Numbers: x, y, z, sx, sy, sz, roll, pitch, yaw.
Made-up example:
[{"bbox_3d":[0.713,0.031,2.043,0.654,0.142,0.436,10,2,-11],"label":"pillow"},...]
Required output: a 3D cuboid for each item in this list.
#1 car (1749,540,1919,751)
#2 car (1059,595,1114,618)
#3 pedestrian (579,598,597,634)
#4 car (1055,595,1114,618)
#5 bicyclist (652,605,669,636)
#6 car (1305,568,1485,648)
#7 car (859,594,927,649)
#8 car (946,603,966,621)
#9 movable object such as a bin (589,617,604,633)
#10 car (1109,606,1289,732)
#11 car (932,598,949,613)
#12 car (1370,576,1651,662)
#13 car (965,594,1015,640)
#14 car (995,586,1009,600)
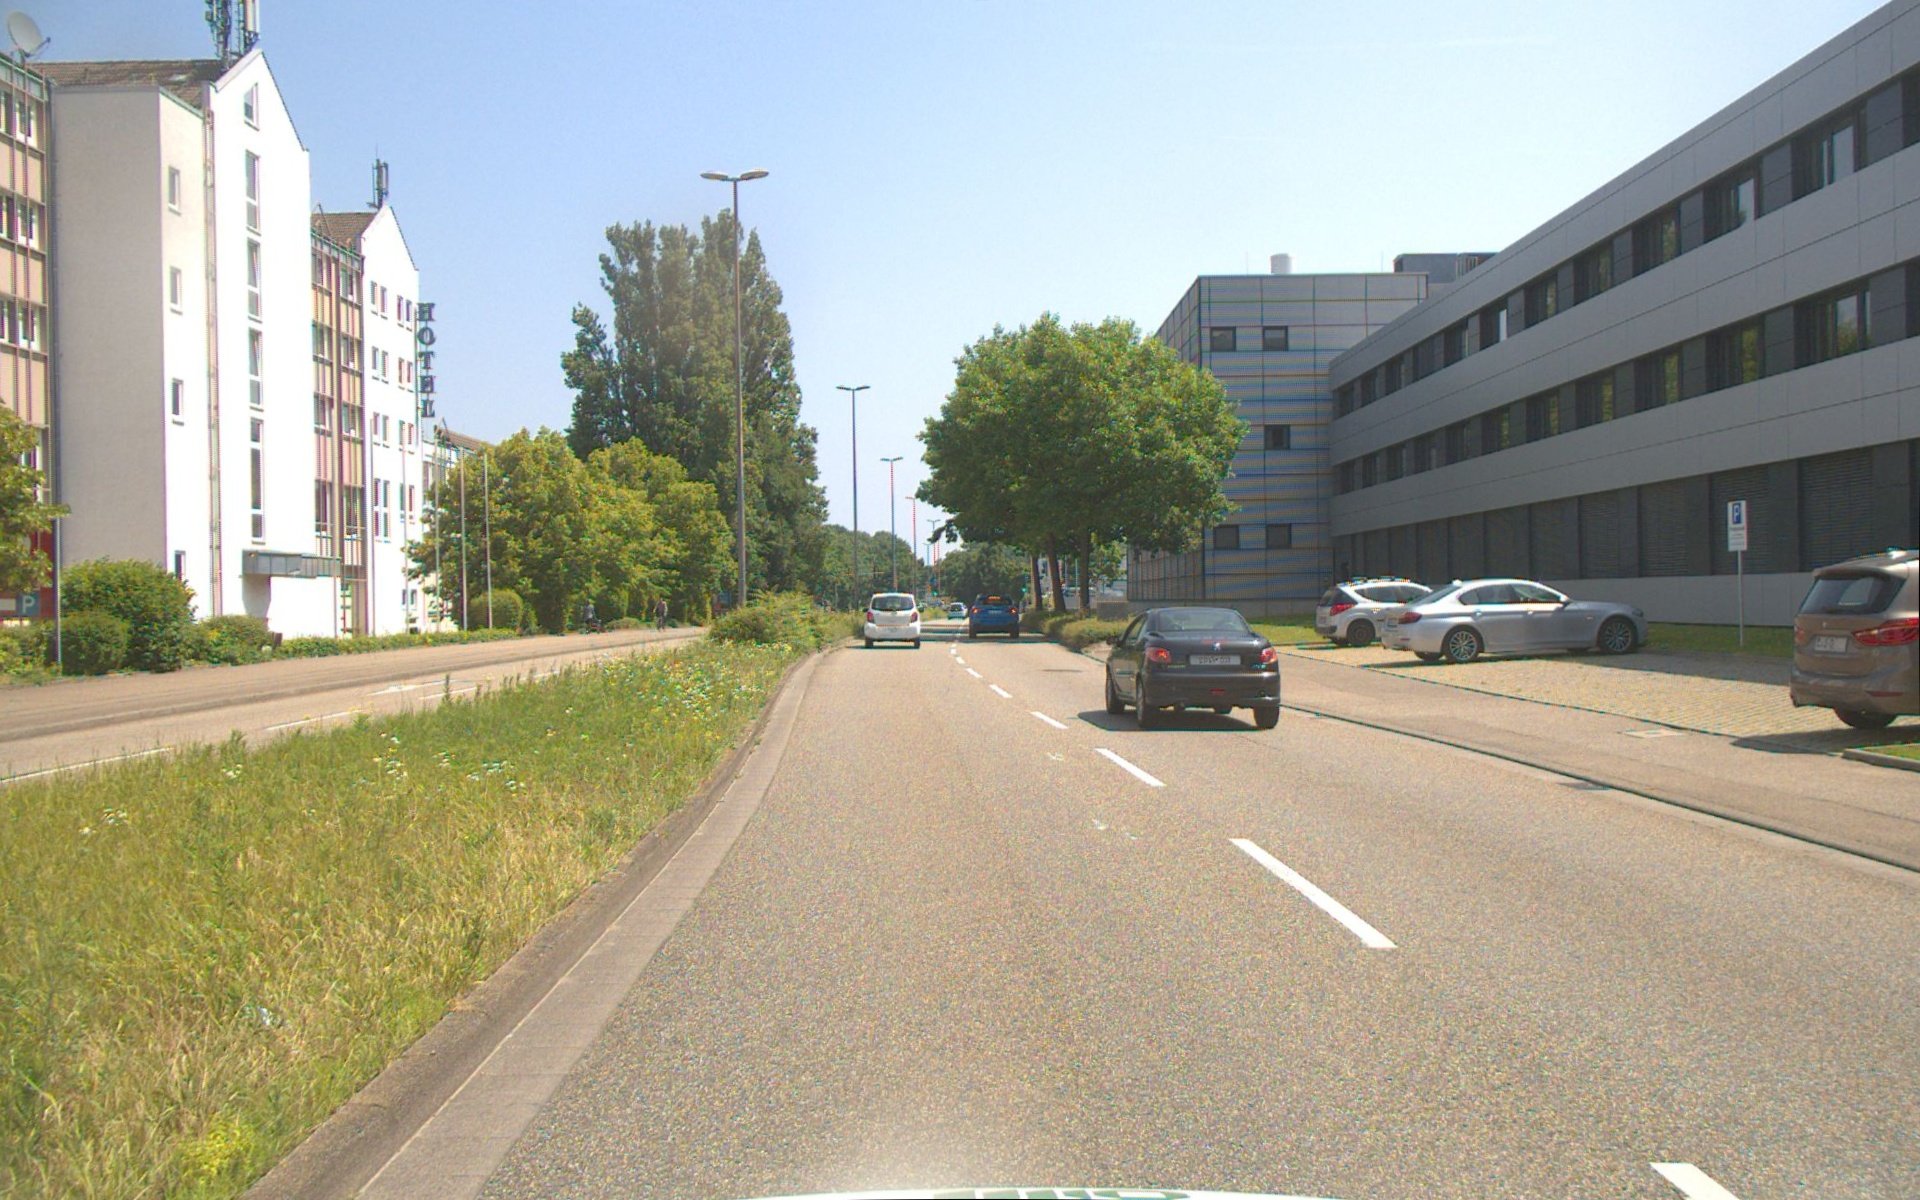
[{"bbox_3d":[9.738,0.249,14.971,4.176,1.718,1.998,-4,0,-4],"label":"car"},{"bbox_3d":[9.492,0.500,124.173,3.908,1.647,1.999,-1,0,-4],"label":"car"},{"bbox_3d":[-16.870,0.731,75.005,0.620,1.572,0.727,-2,-1,0],"label":"pedestrian"},{"bbox_3d":[9.615,0.524,128.153,4.407,1.610,2.000,-2,-1,-1],"label":"car"},{"bbox_3d":[-15.172,1.050,83.858,0.703,1.543,1.026,-1,-1,-3],"label":"bicyclist"},{"bbox_3d":[10.333,0.199,39.450,3.738,1.619,1.731,-4,0,-4],"label":"car"},{"bbox_3d":[-1.896,0.598,47.877,1.712,1.547,3.746,0,0,2],"label":"car"},{"bbox_3d":[-0.405,1.143,158.401,1.782,1.691,3.999,-1,0,-1],"label":"car"},{"bbox_3d":[-16.412,1.130,74.668,0.419,0.718,0.652,-2,-1,9],"label":"movable object such as a bin"},{"bbox_3d":[2.824,0.772,20.190,1.594,1.388,3.604,0,0,-1],"label":"car"},{"bbox_3d":[-2.392,0.681,199.952,1.783,1.691,3.997,-1,0,-4],"label":"car"},{"bbox_3d":[10.177,0.334,30.793,4.522,1.414,1.998,-2,0,-4],"label":"car"},{"bbox_3d":[1.117,0.619,60.936,1.790,1.608,3.606,-1,0,1],"label":"car"},{"bbox_3d":[6.075,-1.011,239.307,1.734,2.049,3.988,-2,0,-3],"label":"car"}]
